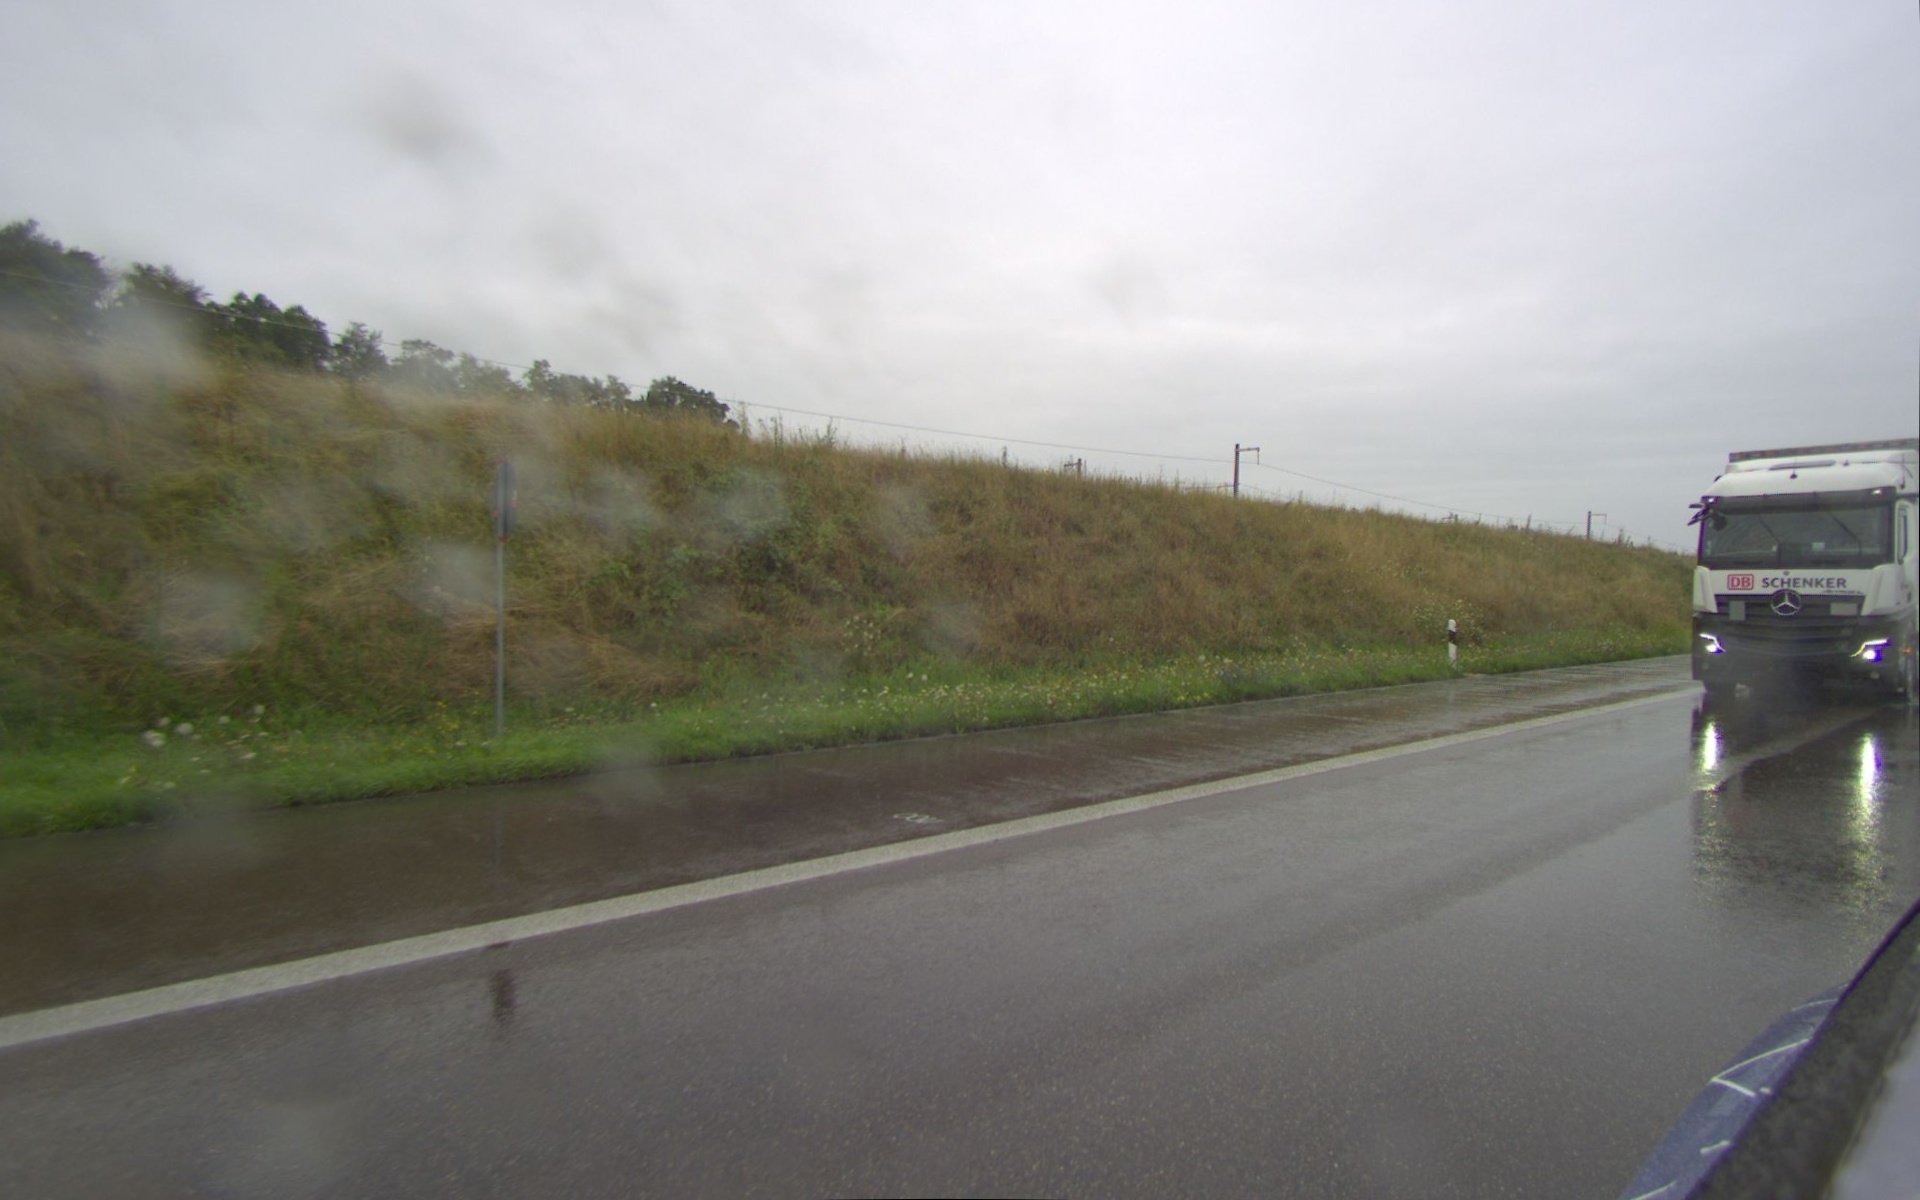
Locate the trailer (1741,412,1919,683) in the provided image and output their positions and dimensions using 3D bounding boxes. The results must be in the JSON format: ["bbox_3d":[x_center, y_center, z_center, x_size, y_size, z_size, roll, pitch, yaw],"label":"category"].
[{"bbox_3d":[19.882,-0.911,21.415,13.929,4.302,2.631,-1,0,-41],"label":"trailer"}]

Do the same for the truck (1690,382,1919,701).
[{"bbox_3d":[14.010,-0.819,16.281,4.956,4.307,2.630,-1,0,-41],"label":"truck"}]
